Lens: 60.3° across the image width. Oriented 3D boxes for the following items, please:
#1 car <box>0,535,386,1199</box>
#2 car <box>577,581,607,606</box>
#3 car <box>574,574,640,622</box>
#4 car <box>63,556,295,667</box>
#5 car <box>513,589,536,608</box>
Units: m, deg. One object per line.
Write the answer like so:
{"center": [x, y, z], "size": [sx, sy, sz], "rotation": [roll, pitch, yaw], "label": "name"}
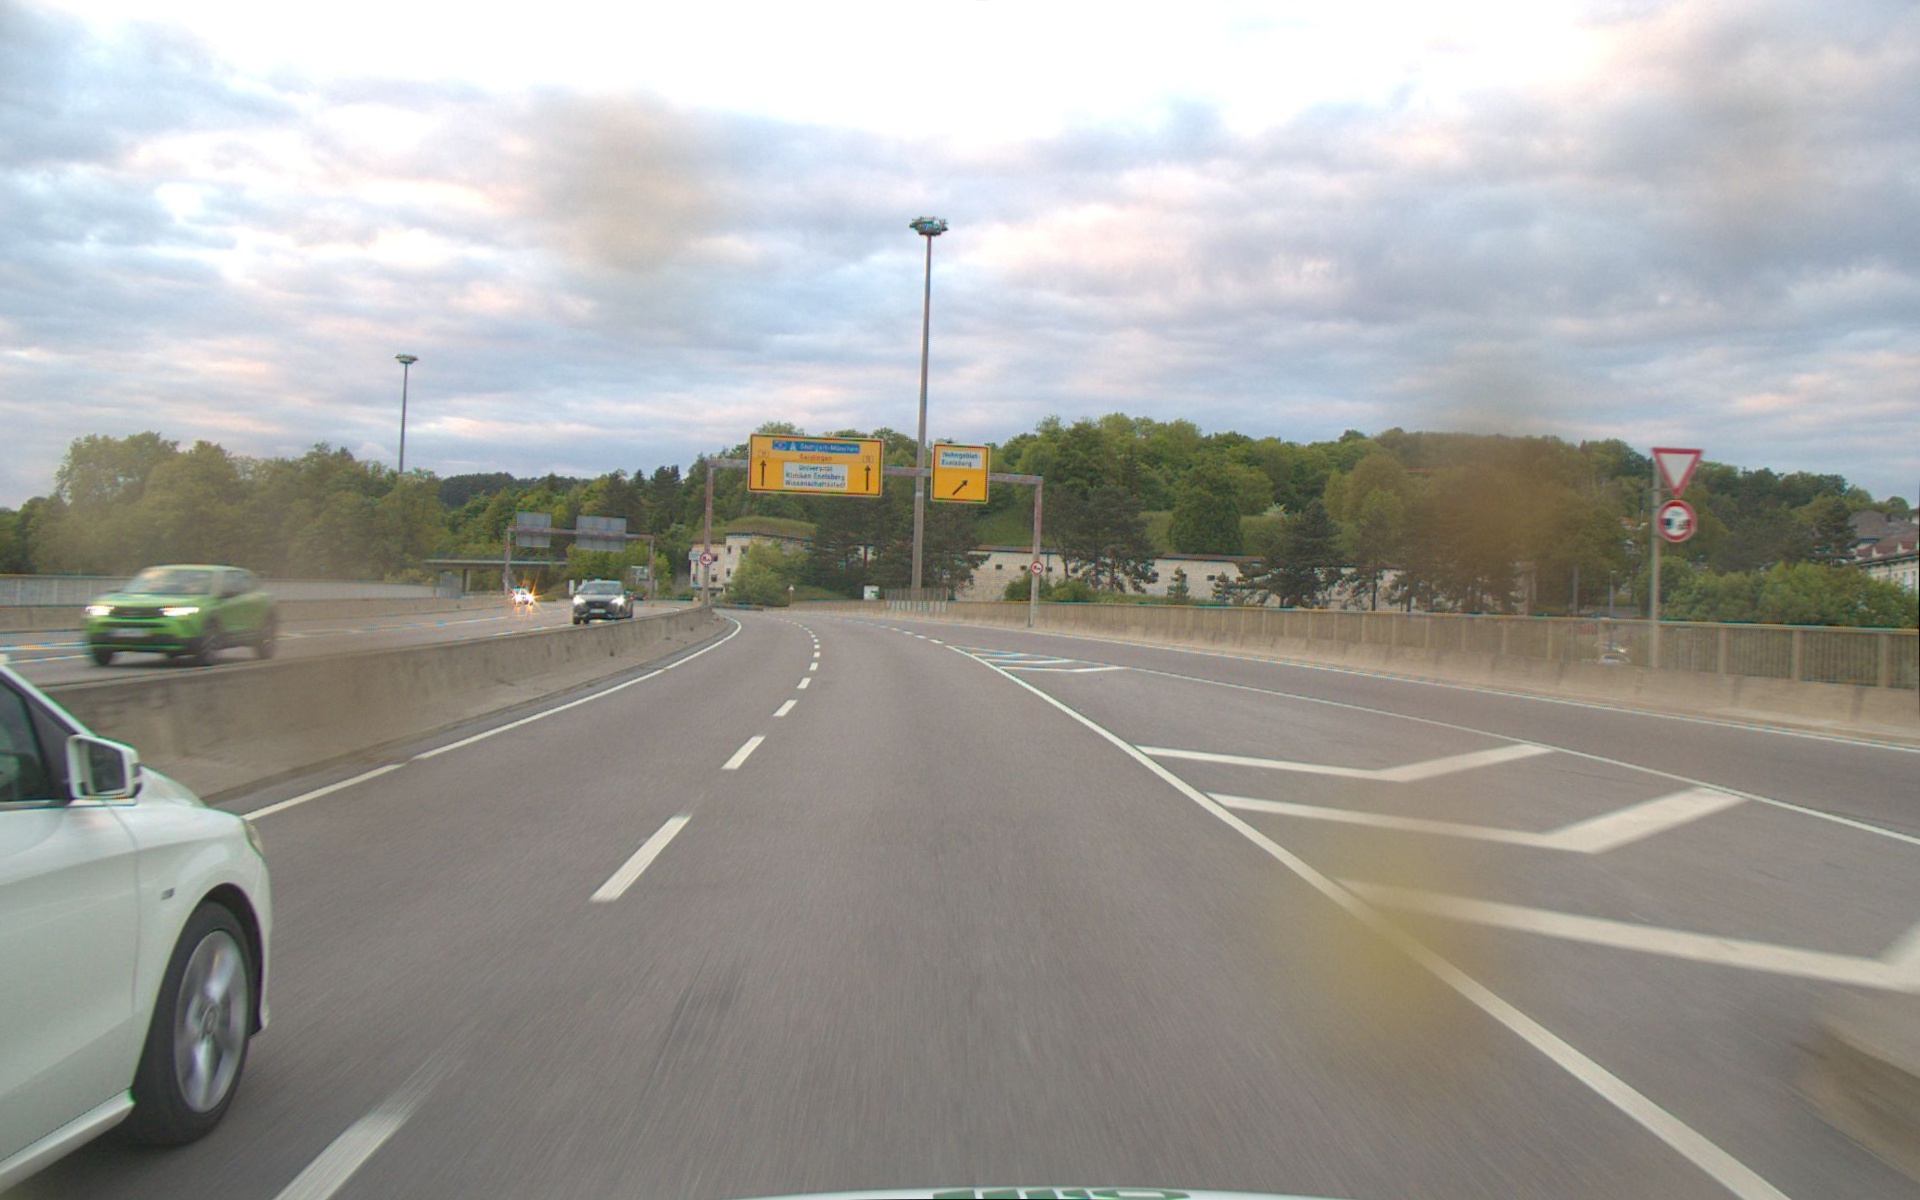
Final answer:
{"center": [-2.743, 0.642, 3.270], "size": [1.657, 1.564, 4.781], "rotation": [1, 0, -2], "label": "car"}
{"center": [-22.979, -0.429, 103.161], "size": [1.701, 1.502, 4.208], "rotation": [1, 0, -14], "label": "car"}
{"center": [-12.357, -0.072, 58.090], "size": [1.776, 1.561, 4.540], "rotation": [1, 0, -6], "label": "car"}
{"center": [-12.223, 0.177, 26.202], "size": [1.676, 1.520, 4.080], "rotation": [4, 0, -1], "label": "car"}
{"center": [-42.762, -0.147, 162.371], "size": [1.644, 1.763, 3.973], "rotation": [2, 0, -22], "label": "car"}
